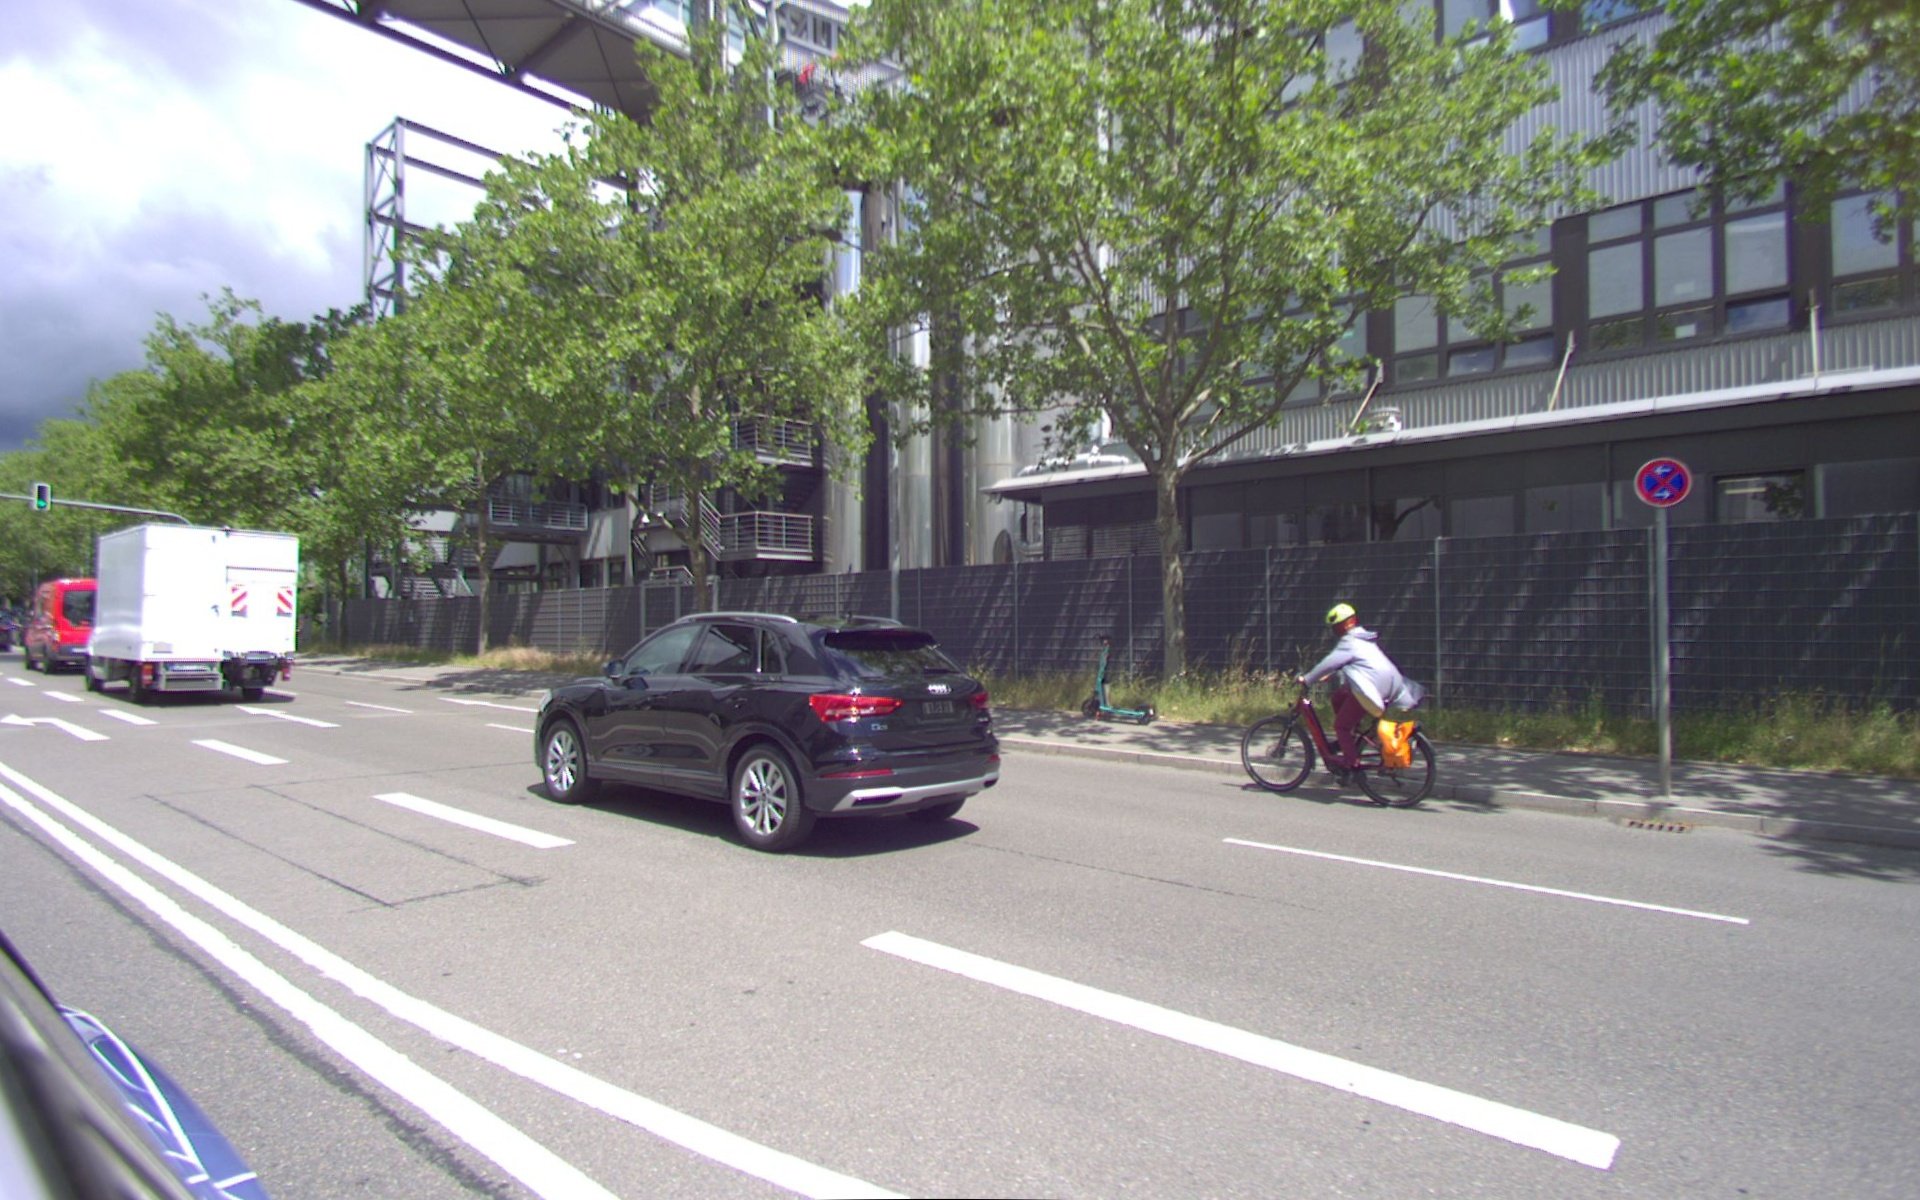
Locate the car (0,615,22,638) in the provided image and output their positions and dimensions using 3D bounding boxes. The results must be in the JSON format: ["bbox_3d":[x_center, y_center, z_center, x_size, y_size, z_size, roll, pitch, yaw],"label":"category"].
[{"bbox_3d":[-60.348,1.647,63.487,3.818,1.440,1.675,-1,-2,40],"label":"car"}]

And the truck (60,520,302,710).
[{"bbox_3d":[-15.667,0.311,20.134,7.241,3.153,2.426,0,-3,42],"label":"truck"}]

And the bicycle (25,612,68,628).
[{"bbox_3d":[-73.554,1.581,81.522,0.615,1.187,2.529,0,0,41],"label":"bicycle"}]

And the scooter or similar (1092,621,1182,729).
[{"bbox_3d":[2.413,1.003,13.869,1.234,1.414,0.300,0,0,41],"label":"scooter or similar"}]

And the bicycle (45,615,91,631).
[{"bbox_3d":[-67.097,1.729,76.149,0.614,1.093,2.536,0,0,32],"label":"bicycle"}]

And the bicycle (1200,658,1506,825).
[{"bbox_3d":[3.476,1.187,9.132,2.471,1.244,0.729,0,-2,39],"label":"bicycle"}]

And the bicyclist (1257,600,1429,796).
[{"bbox_3d":[3.455,0.833,9.122,1.221,1.610,0.946,0,-3,38],"label":"bicyclist"}]

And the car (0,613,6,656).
[{"bbox_3d":[-40.884,1.415,41.856,4.212,1.696,1.717,0,0,42],"label":"car"}]

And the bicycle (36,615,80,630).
[{"bbox_3d":[-70.386,1.737,79.015,2.526,1.093,0.616,-1,0,-44],"label":"bicycle"}]

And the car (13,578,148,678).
[{"bbox_3d":[-24.612,0.779,28.256,5.477,2.526,2.042,-1,-3,41],"label":"car"}]

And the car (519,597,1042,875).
[{"bbox_3d":[-1.586,0.866,7.902,4.265,1.593,1.722,-2,-4,41],"label":"car"}]

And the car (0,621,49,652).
[{"bbox_3d":[-46.402,1.774,49.959,3.917,1.439,1.560,-1,-3,40],"label":"car"}]

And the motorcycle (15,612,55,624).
[{"bbox_3d":[-87.974,1.729,96.292,0.600,1.044,2.793,-4,-2,43],"label":"motorcycle"}]
